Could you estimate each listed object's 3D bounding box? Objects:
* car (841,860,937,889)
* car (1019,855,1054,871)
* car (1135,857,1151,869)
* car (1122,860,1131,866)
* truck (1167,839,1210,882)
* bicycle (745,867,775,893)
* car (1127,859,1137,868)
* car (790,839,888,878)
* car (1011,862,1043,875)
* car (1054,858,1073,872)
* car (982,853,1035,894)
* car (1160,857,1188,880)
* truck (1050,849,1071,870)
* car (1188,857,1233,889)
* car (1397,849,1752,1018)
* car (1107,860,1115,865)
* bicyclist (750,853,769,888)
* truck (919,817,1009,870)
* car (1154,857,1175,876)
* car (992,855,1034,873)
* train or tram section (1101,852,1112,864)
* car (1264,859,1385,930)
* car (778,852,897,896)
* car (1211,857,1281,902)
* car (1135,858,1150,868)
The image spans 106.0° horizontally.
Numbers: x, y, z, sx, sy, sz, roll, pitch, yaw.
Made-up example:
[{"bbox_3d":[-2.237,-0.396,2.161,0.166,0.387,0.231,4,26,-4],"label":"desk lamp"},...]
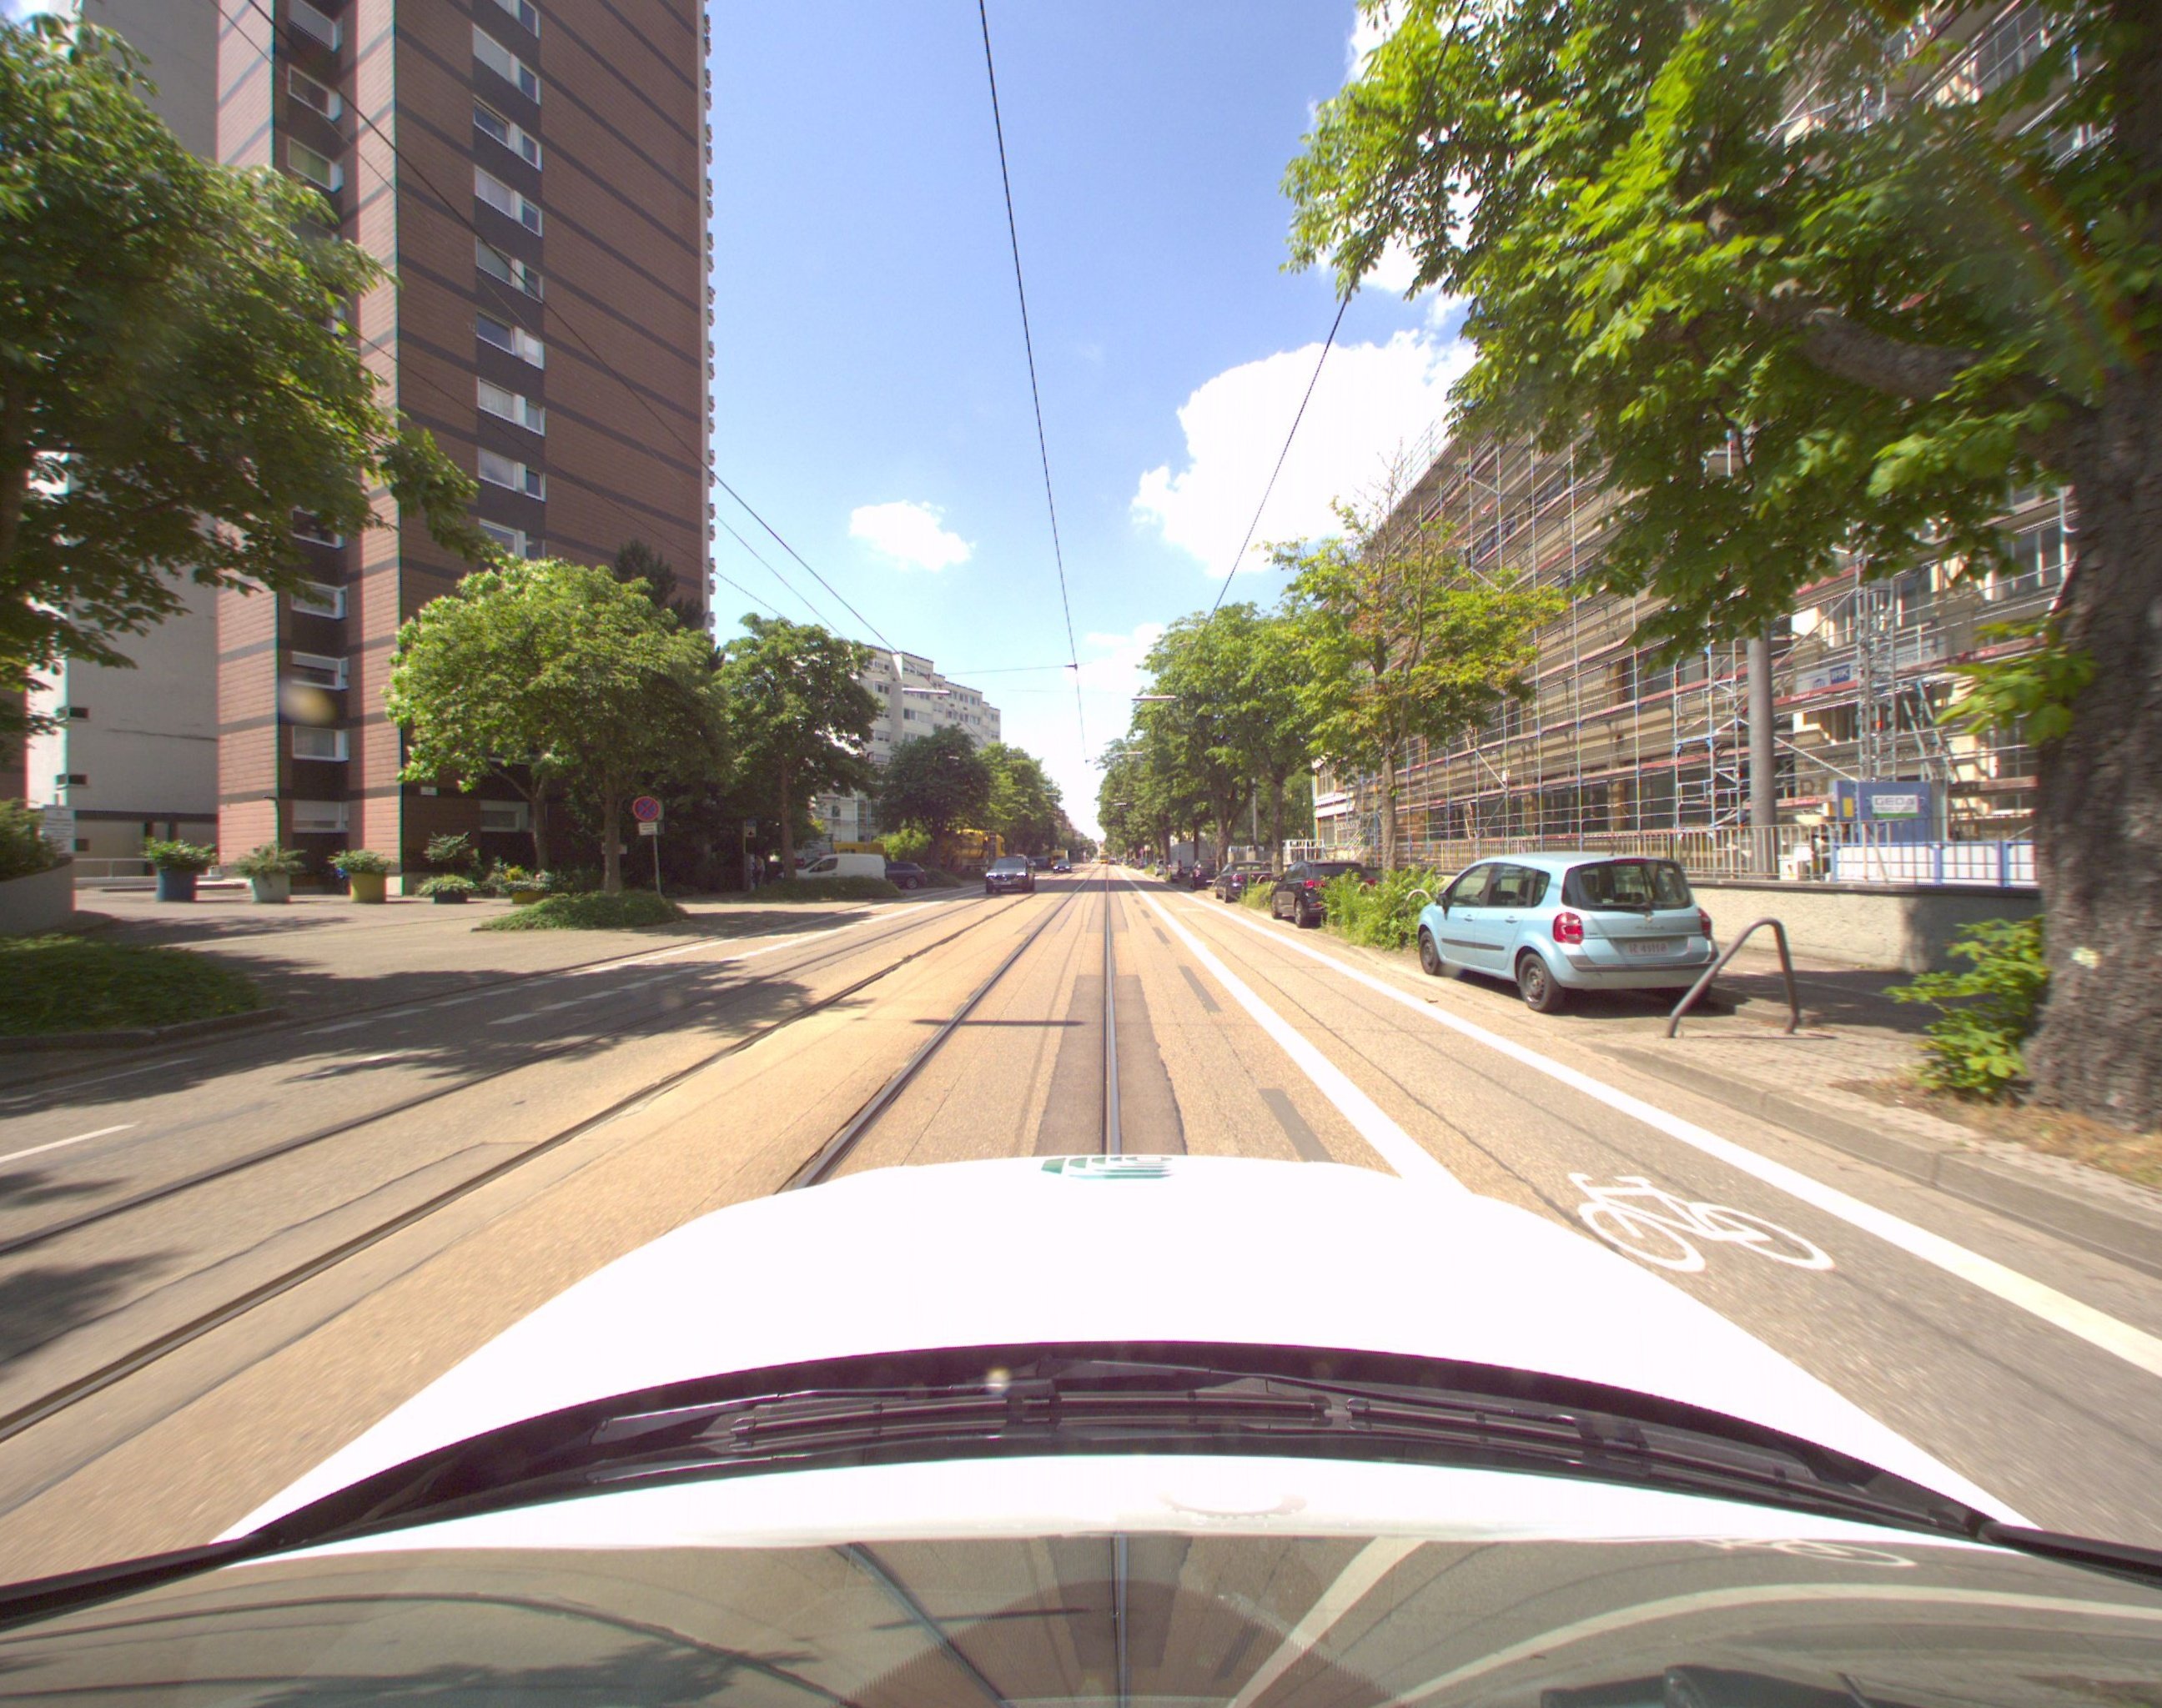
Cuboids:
[{"bbox_3d":[-9.799,1.037,41.748,4.467,1.394,1.753,1,0,-37],"label":"car"},{"bbox_3d":[-6.601,1.289,120.066,4.785,2.062,2.004,-2,-1,-37],"label":"car"},{"bbox_3d":[7.891,1.143,104.280,1.634,1.485,3.870,-2,-1,-1],"label":"car"},{"bbox_3d":[10.241,2.024,182.986,1.704,1.423,4.310,-2,-1,1],"label":"car"},{"bbox_3d":[6.652,0.387,50.937,2.007,2.489,5.957,-1,0,1],"label":"truck"},{"bbox_3d":[-13.739,1.082,34.902,0.516,1.047,1.876,0,0,0],"label":"bicycle"},{"bbox_3d":[9.072,1.657,145.390,1.586,1.617,3.908,-2,-1,1],"label":"car"},{"bbox_3d":[-16.582,0.368,56.329,2.157,2.566,6.766,-1,-2,32],"label":"car"},{"bbox_3d":[-7.131,1.867,107.310,1.740,1.433,4.024,-5,-1,44],"label":"car"},{"bbox_3d":[-1.792,1.102,84.475,1.767,1.397,4.289,-1,0,2],"label":"car"},{"bbox_3d":[-3.180,0.836,36.569,1.824,1.681,4.186,-1,0,2],"label":"car"},{"bbox_3d":[6.626,1.003,58.238,1.638,1.534,3.948,-1,0,1],"label":"car"},{"bbox_3d":[-3.029,0.783,120.410,2.350,2.852,7.384,-2,0,3],"label":"truck"},{"bbox_3d":[6.331,0.898,40.273,1.816,1.471,4.405,-1,0,4],"label":"car"},{"bbox_3d":[5.323,0.732,9.548,1.665,1.517,4.202,-1,0,1],"label":"car"},{"bbox_3d":[7.027,1.987,190.713,1.774,1.346,3.417,-1,0,2],"label":"car"},{"bbox_3d":[-13.734,0.700,34.790,0.479,1.481,0.780,0,0,0],"label":"bicyclist"},{"bbox_3d":[-8.953,-0.708,64.346,2.695,3.842,11.009,0,-1,16],"label":"truck"},{"bbox_3d":[7.221,1.051,70.530,1.637,1.534,3.788,-1,0,3],"label":"car"},{"bbox_3d":[-7.807,1.165,93.942,1.898,1.935,4.785,-3,-1,44],"label":"car"},{"bbox_3d":[7.484,1.157,239.770,3.023,3.438,11.977,-1,0,3],"label":"train or tram section"},{"bbox_3d":[5.528,0.847,19.019,1.665,1.438,4.042,-1,0,1],"label":"car"},{"bbox_3d":[-10.431,0.817,34.933,4.563,1.791,1.882,1,0,-31],"label":"car"},{"bbox_3d":[5.869,0.862,29.447,1.817,1.471,4.490,-1,0,3],"label":"car"},{"bbox_3d":[8.814,1.311,116.825,1.869,1.455,4.530,-2,-1,2],"label":"car"}]
